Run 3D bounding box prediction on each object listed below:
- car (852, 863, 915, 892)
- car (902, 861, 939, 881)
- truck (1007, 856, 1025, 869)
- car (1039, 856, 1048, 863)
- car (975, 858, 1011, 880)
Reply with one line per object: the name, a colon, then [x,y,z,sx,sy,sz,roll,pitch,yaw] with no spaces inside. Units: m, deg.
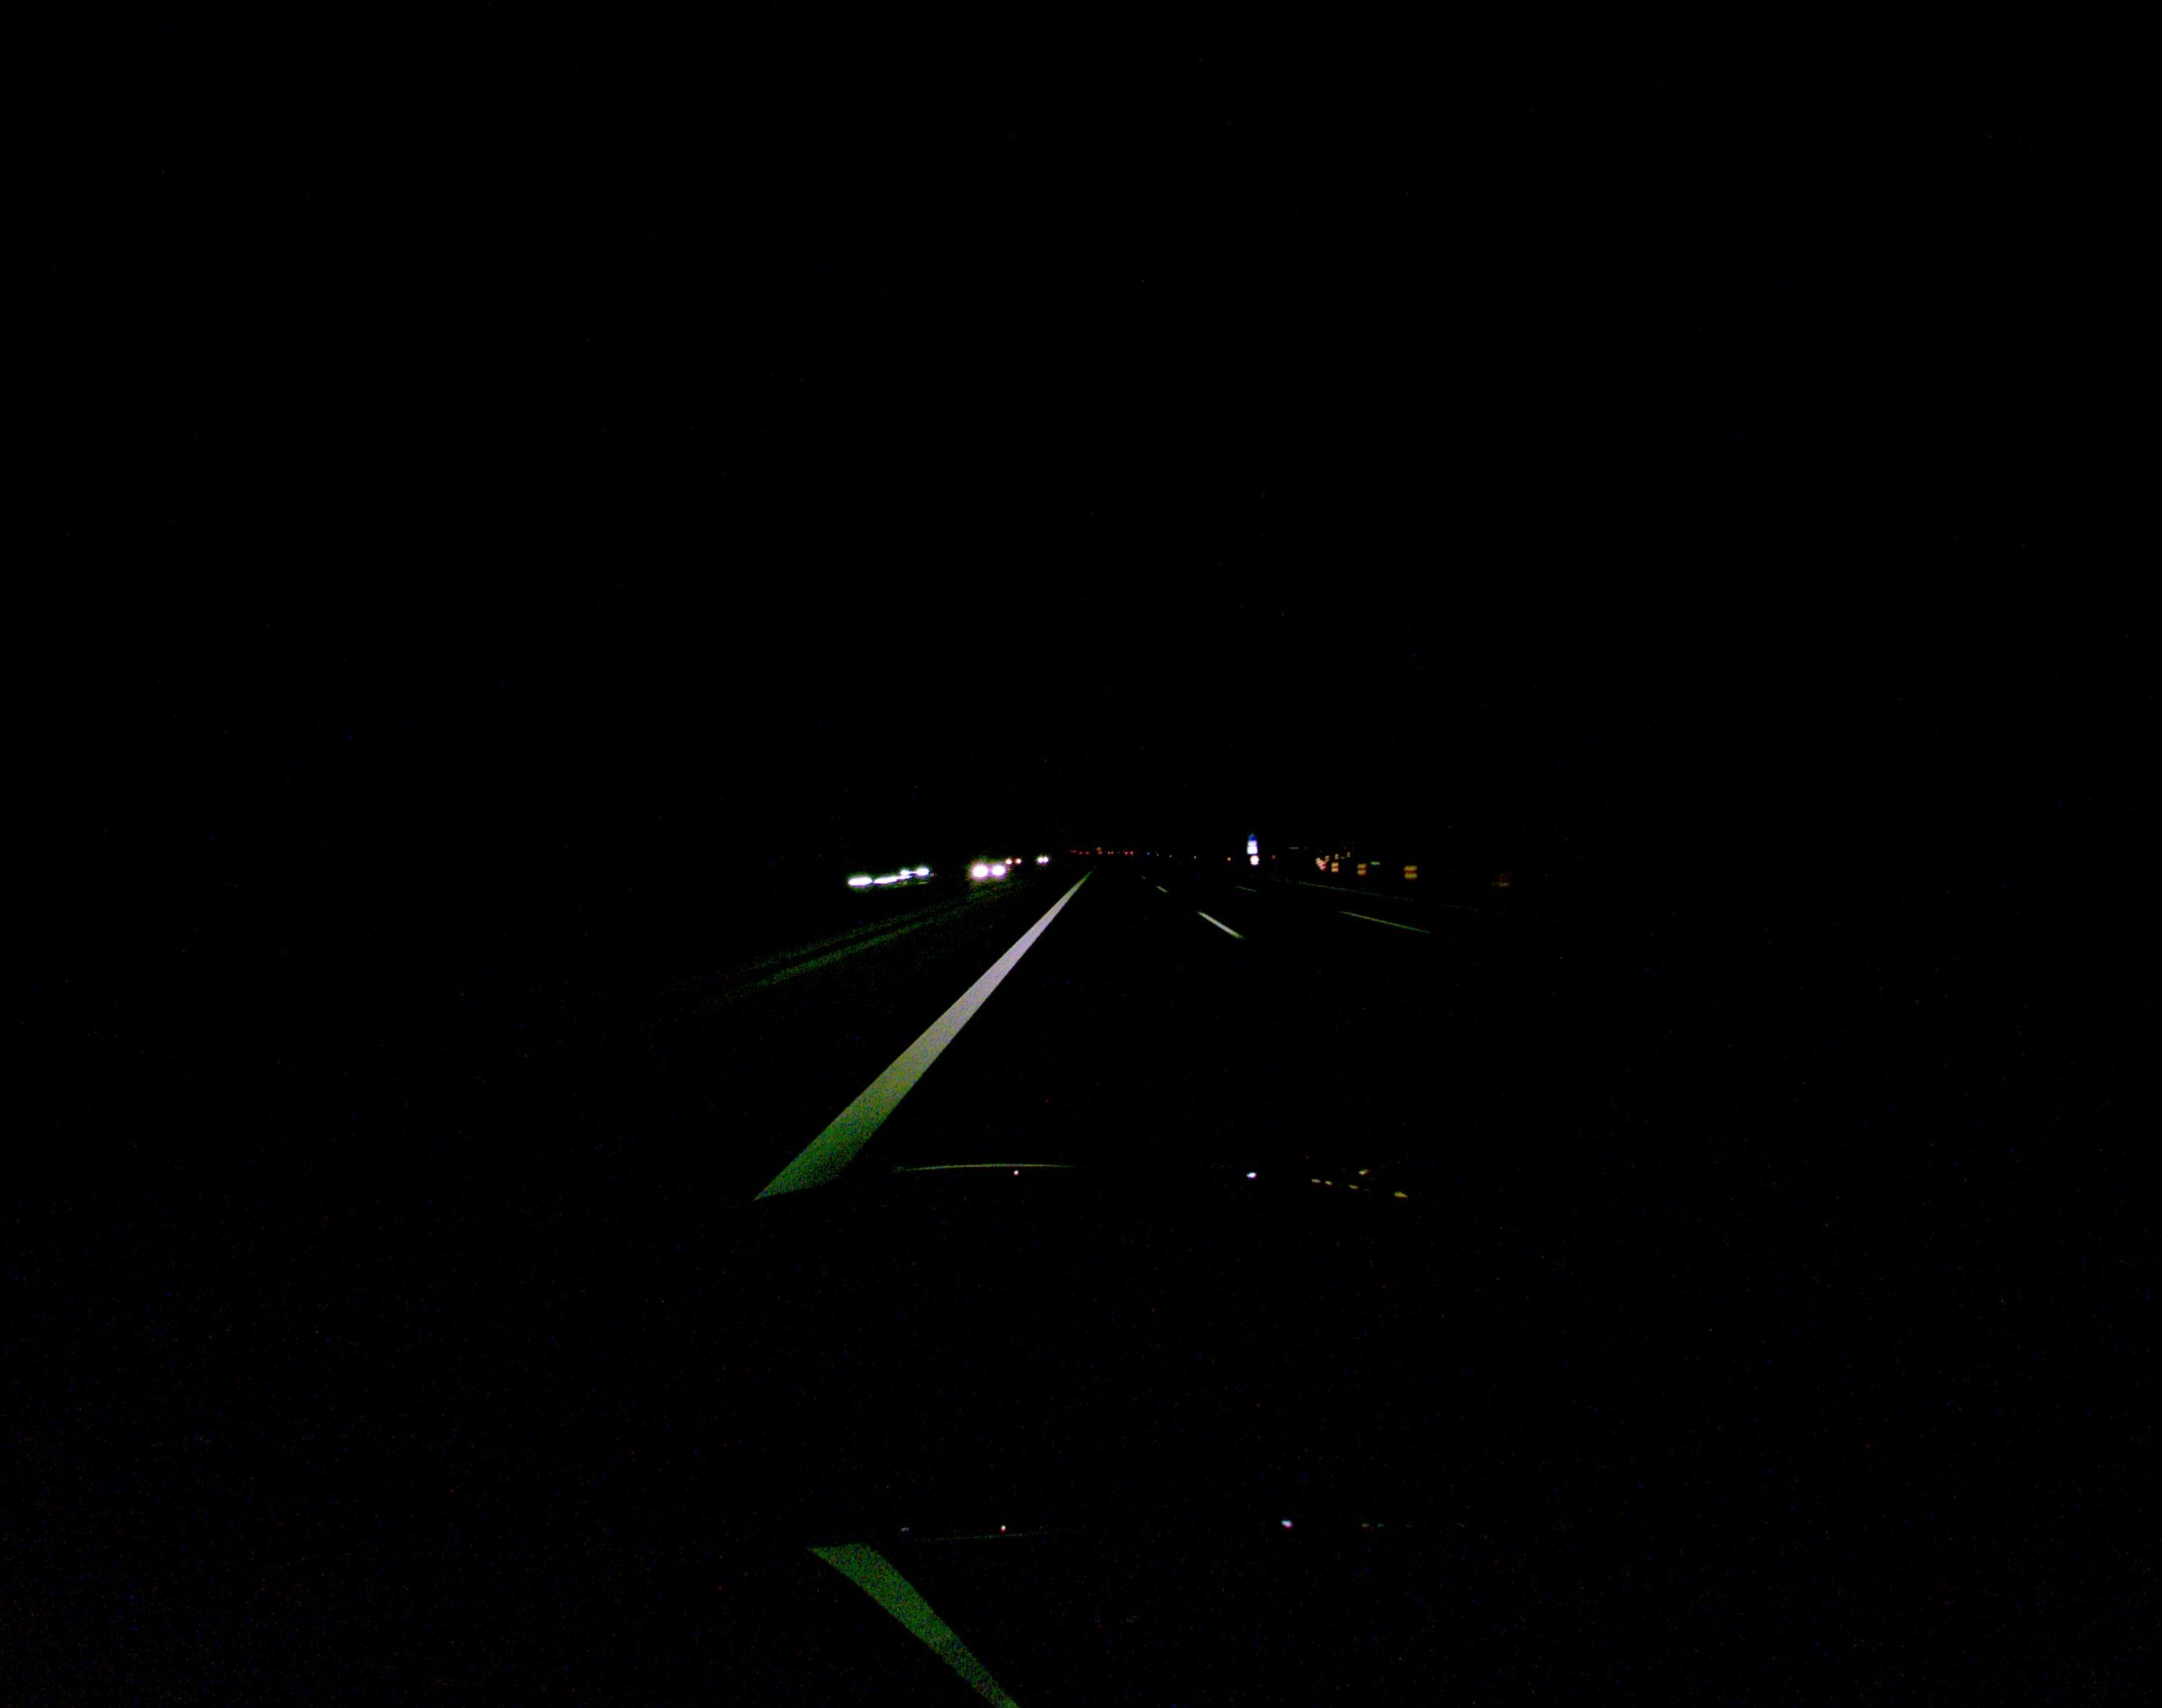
car: [-10.954,1.268,45.637,1.986,1.394,5.707,-2,0,1]
car: [-13.457,1.407,68.662,1.986,1.485,4.802,-3,0,2]
truck: [-9.907,1.295,124.236,1.985,1.942,5.244,-2,-1,3]
car: [-9.515,1.353,207.398,1.986,1.503,5.203,-3,0,2]
car: [-6.650,1.100,61.924,1.986,1.461,4.902,-3,0,2]
